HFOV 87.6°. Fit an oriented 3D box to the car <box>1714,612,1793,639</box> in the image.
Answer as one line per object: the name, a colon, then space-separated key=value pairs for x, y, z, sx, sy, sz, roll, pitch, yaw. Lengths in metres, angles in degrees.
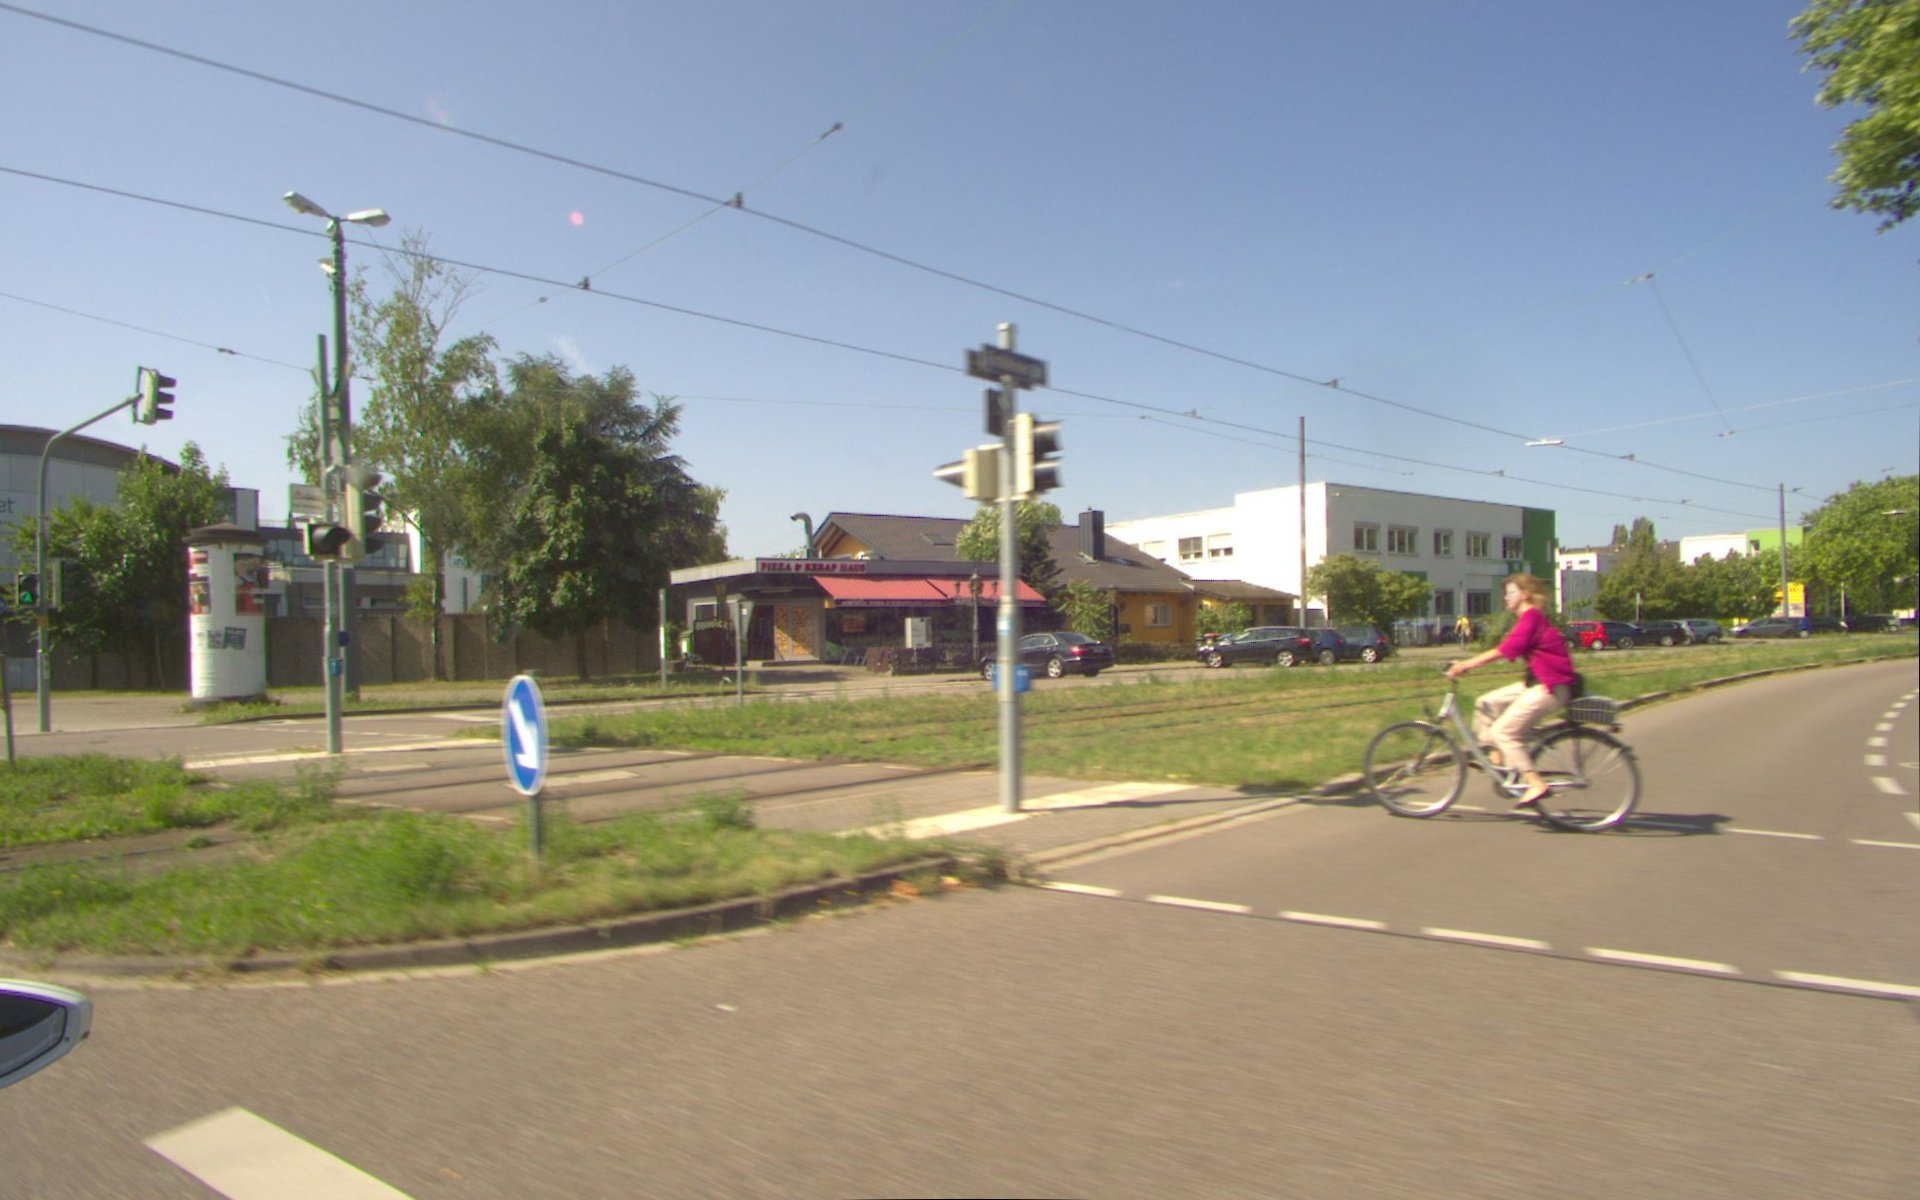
car: x=55.625 y=1.816 z=70.315 sx=3.936 sy=1.816 sz=1.994 roll=-1 pitch=-3 yaw=26

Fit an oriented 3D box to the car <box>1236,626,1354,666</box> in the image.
car: x=13.259 y=1.814 z=39.633 sx=4.141 sy=1.517 sz=2.135 roll=-2 pitch=-2 yaw=27

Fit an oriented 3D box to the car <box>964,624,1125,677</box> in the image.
car: x=2.589 y=1.642 z=31.990 sx=2.120 sy=1.517 sz=5.077 roll=0 pitch=-3 yaw=-41

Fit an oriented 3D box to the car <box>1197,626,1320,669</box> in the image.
car: x=11.280 y=1.795 z=37.807 sx=4.141 sy=1.517 sz=2.135 roll=-2 pitch=-2 yaw=27

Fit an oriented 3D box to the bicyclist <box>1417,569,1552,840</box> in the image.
bicyclist: x=3.753 y=0.713 z=7.201 sx=0.798 sy=1.810 sz=0.700 roll=-1 pitch=-1 yaw=27

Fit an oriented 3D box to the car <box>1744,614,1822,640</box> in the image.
car: x=58.914 y=1.938 z=71.785 sx=3.936 sy=1.817 sz=1.993 roll=-1 pitch=-1 yaw=26

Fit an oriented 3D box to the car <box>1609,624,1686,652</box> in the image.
car: x=39.813 y=2.212 z=58.073 sx=3.385 sy=1.555 sz=1.565 roll=-1 pitch=-1 yaw=20

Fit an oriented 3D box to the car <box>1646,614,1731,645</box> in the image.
car: x=44.911 y=1.833 z=61.845 sx=3.936 sy=1.816 sz=1.994 roll=-1 pitch=-3 yaw=26

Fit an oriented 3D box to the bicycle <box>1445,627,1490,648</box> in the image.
bicycle: x=26.992 y=1.999 z=53.244 sx=2.095 sy=1.060 sz=1.107 roll=0 pitch=-1 yaw=-27

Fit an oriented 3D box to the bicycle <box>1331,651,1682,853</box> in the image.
bicycle: x=3.817 y=1.010 z=7.177 sx=2.091 sy=1.201 sz=0.691 roll=1 pitch=0 yaw=27

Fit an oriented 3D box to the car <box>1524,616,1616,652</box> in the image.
car: x=32.418 y=1.839 z=53.338 sx=3.936 sy=1.816 sz=1.994 roll=-1 pitch=-3 yaw=26

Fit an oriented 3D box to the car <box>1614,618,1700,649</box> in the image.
car: x=42.197 y=2.076 z=60.707 sx=3.936 sy=1.816 sz=1.994 roll=-1 pitch=-3 yaw=26

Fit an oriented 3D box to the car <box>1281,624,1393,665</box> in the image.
car: x=15.601 y=1.838 z=41.429 sx=4.141 sy=1.640 sz=2.135 roll=-2 pitch=-2 yaw=27

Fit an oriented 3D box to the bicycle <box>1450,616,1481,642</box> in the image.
bicycle: x=26.866 y=1.547 z=53.238 sx=0.766 sy=1.343 sz=1.214 roll=-1 pitch=-1 yaw=-26

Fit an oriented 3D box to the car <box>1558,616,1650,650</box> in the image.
car: x=35.076 y=1.843 z=54.670 sx=3.936 sy=1.816 sz=1.994 roll=-1 pitch=-3 yaw=26
